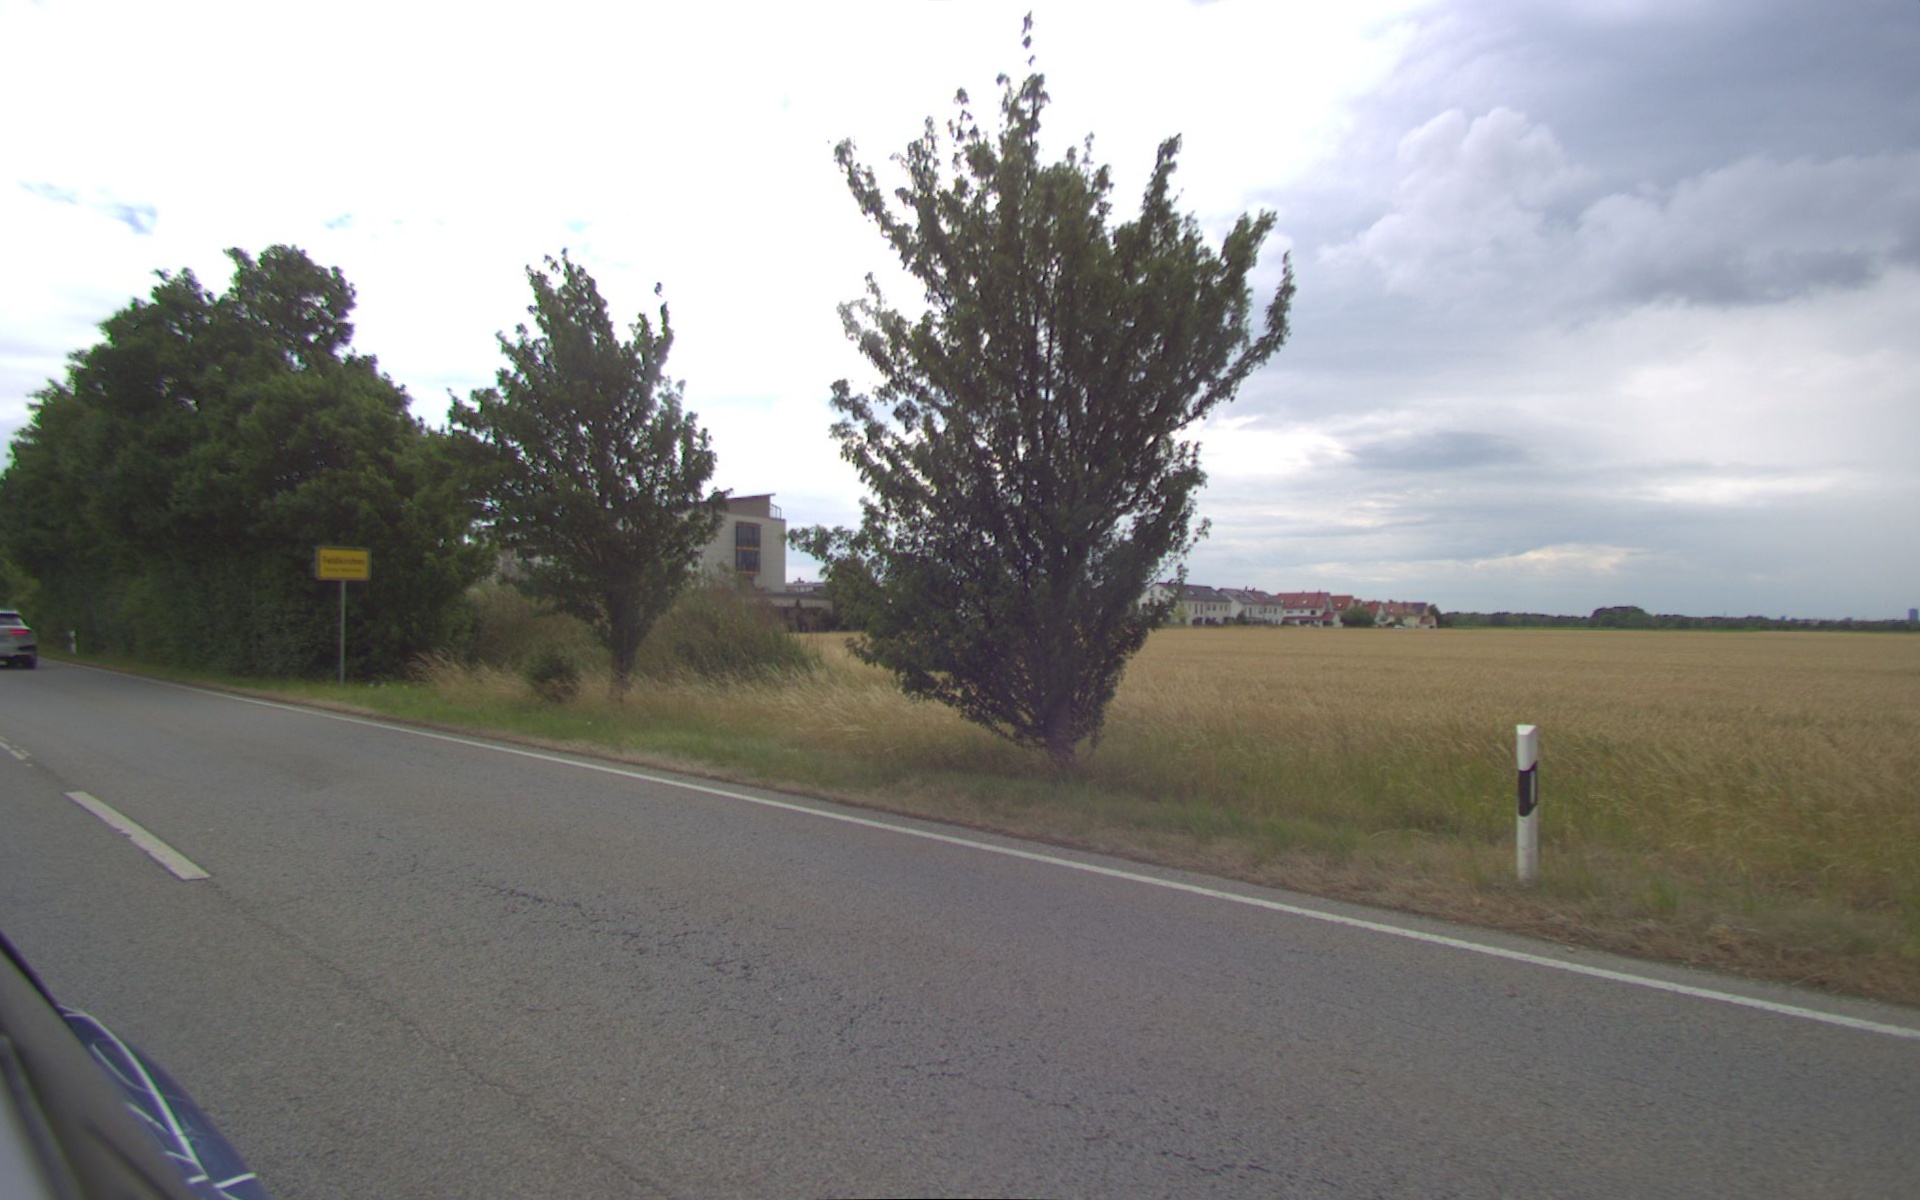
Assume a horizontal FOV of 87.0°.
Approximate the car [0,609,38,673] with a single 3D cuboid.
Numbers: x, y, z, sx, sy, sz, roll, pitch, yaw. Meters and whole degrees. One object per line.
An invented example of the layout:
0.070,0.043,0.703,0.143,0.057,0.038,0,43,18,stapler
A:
-27.589,1.123,28.387,4.807,1.697,1.973,-1,-3,41,car
